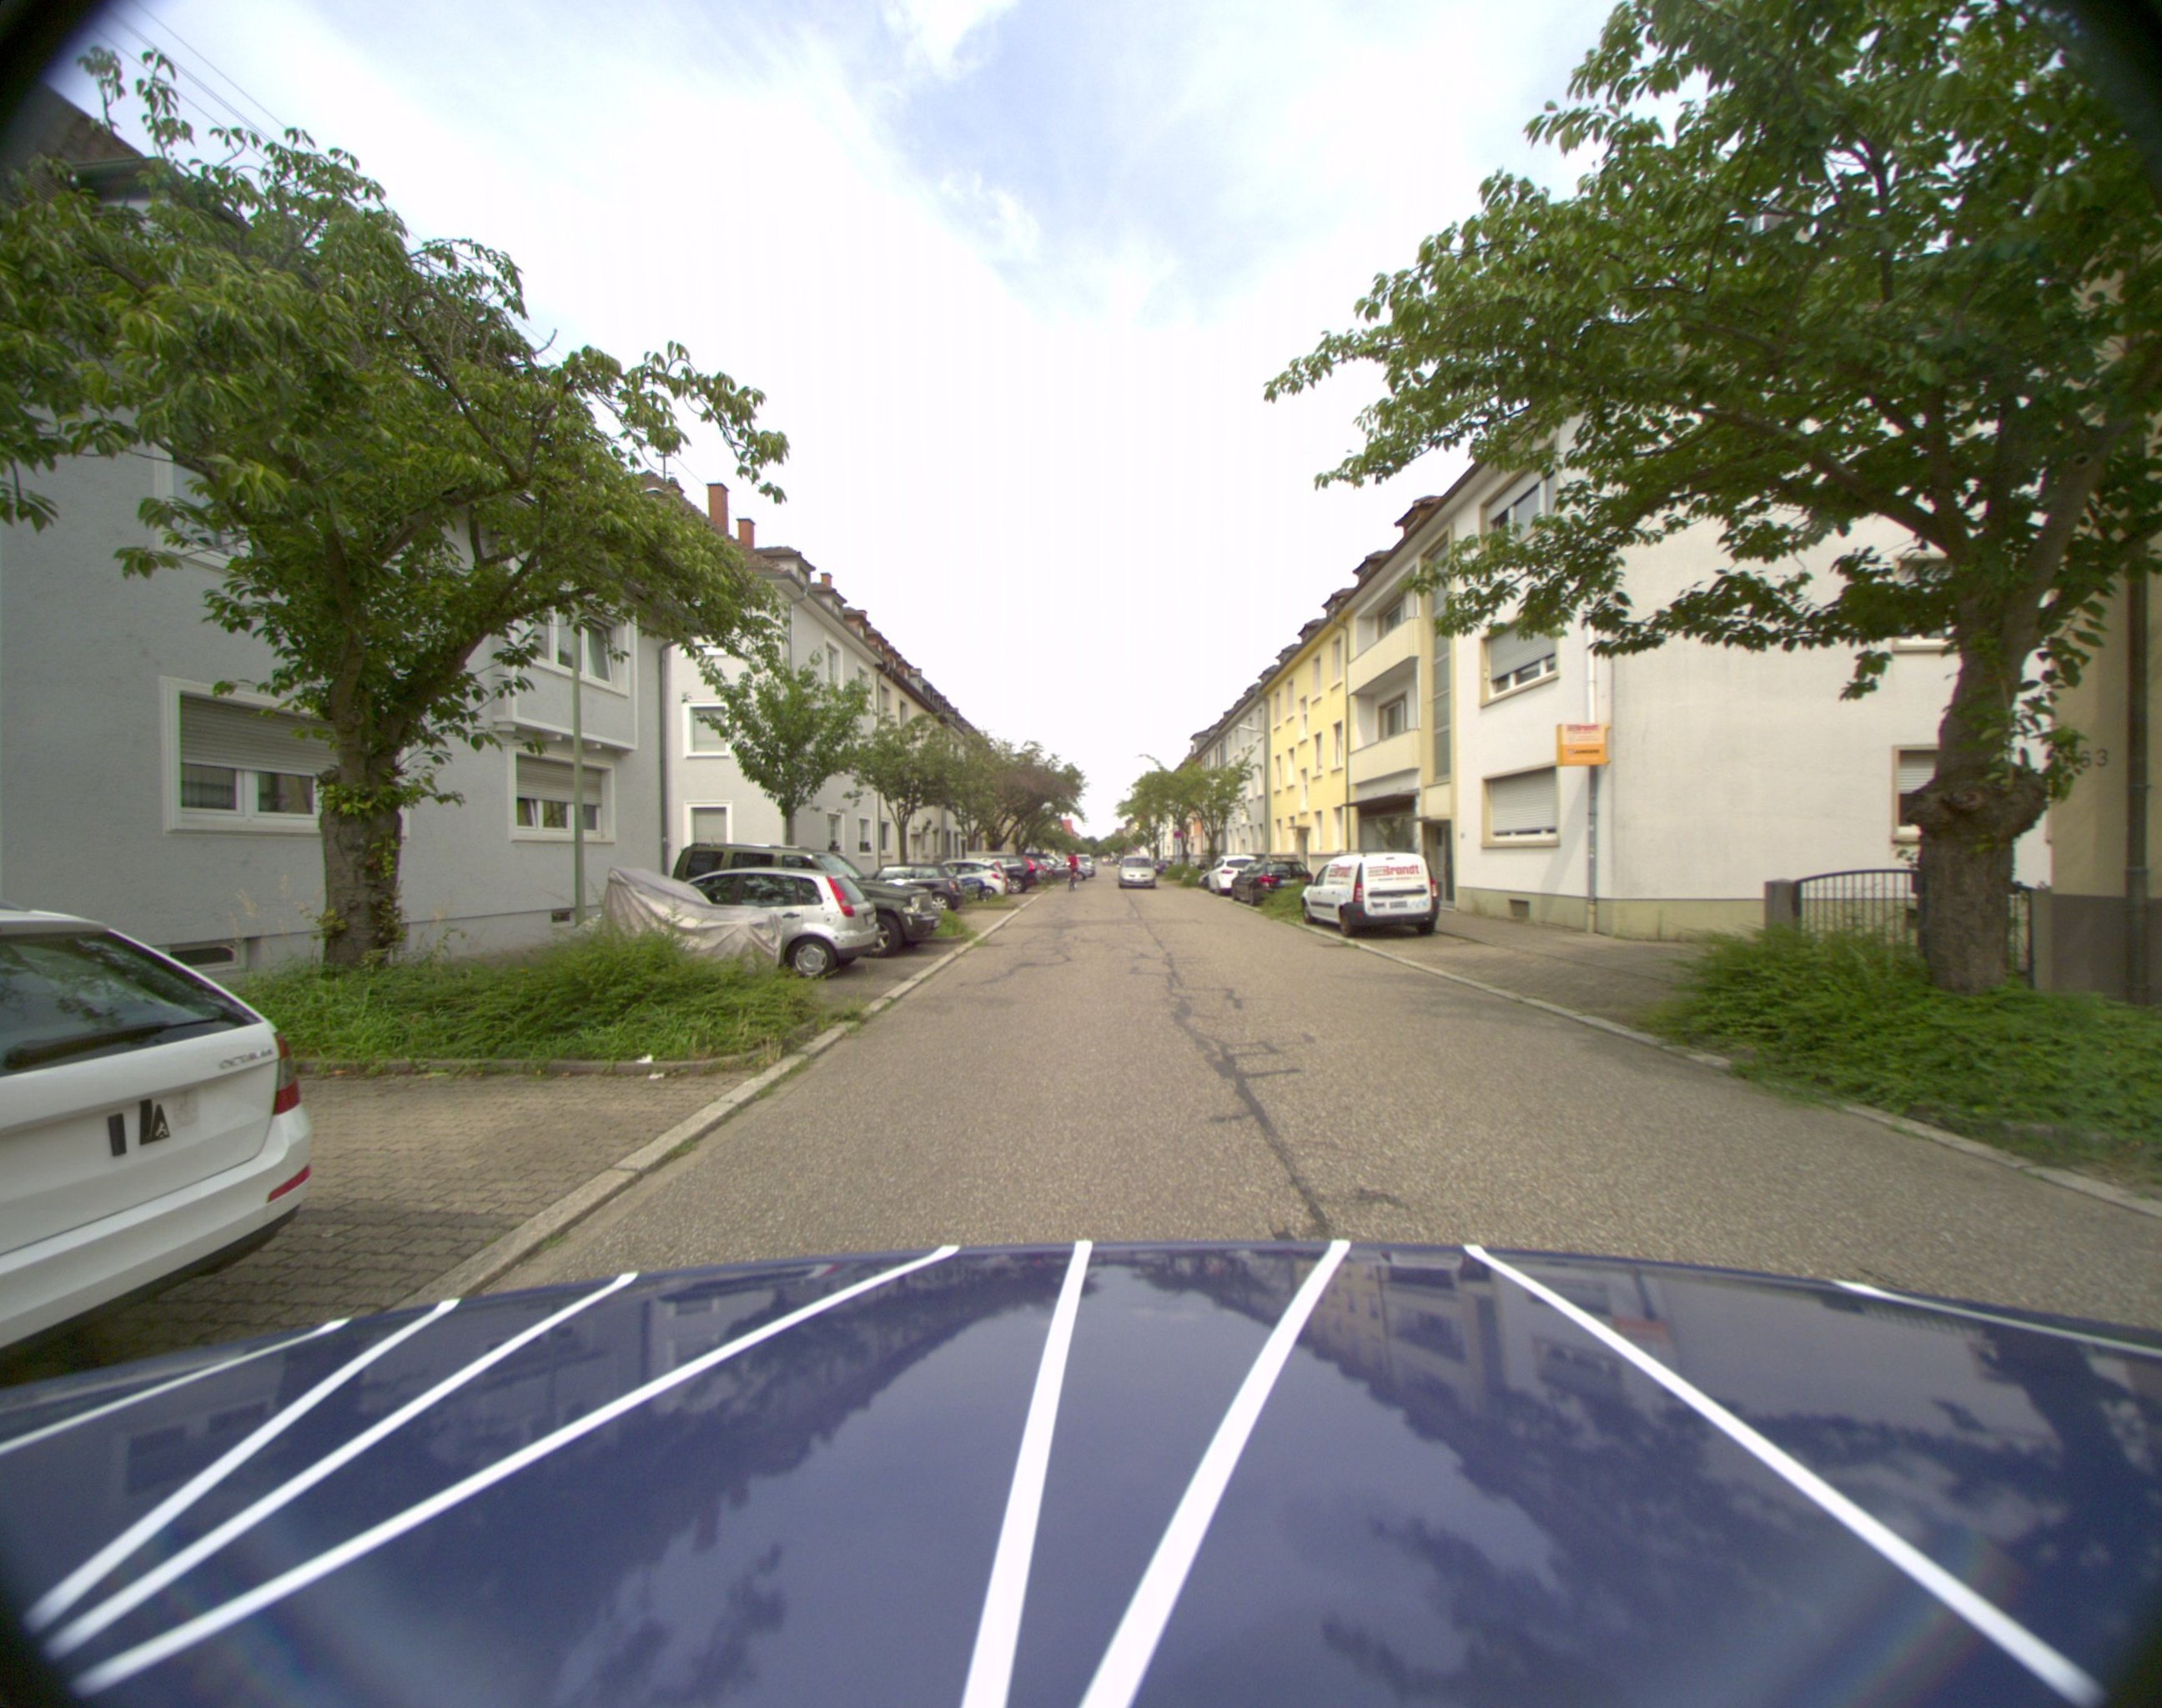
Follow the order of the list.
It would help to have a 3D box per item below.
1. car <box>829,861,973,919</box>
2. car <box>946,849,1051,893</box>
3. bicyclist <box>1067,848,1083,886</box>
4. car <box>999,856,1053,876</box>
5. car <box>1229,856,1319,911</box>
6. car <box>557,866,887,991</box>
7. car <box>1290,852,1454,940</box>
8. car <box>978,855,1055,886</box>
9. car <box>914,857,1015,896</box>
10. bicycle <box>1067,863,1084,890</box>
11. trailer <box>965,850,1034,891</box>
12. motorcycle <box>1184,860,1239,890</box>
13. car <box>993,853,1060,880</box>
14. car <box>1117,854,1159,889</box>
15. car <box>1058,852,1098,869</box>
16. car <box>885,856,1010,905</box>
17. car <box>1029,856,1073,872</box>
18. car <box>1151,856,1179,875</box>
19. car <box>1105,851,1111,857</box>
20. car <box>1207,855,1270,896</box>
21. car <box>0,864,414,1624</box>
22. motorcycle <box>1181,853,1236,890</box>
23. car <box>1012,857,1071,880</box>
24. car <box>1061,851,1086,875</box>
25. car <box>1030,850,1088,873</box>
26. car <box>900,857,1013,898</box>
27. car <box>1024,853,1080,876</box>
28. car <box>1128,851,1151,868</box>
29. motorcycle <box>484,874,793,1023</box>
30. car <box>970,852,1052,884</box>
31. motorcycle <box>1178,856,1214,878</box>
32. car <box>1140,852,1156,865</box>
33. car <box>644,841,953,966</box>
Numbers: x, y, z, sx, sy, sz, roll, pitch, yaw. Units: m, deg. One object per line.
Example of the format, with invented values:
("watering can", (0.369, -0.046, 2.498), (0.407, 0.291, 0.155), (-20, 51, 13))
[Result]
("car", (-4.939, 0.972, 21.214), (3.551, 1.444, 1.809), (1, 1, 1))
("car", (-3.561, 0.719, 33.308), (4.224, 1.725, 1.904), (2, 1, 4))
("bicyclist", (-0.263, 0.606, 35.811), (0.694, 1.760, 0.986), (-1, 1, 1))
("car", (-4.207, 0.910, 58.386), (3.997, 1.411, 1.638), (1, -1, 1))
("car", (6.033, 0.869, 24.356), (1.795, 1.483, 4.812), (-1, 1, 2))
("car", (-4.694, 0.959, 10.376), (3.635, 1.446, 1.772), (1, 1, -2))
("car", (6.035, 0.781, 16.378), (1.923, 1.572, 4.382), (2, 0, 2))
("car", (-3.645, 0.921, 43.666), (4.225, 1.588, 1.903), (1, 1, -1))
("car", (-4.693, 0.894, 31.079), (3.756, 1.433, 1.865), (2, 1, 2))
("bicycle", (-0.249, 1.044, 35.918), (0.693, 1.220, 1.937), (-1, 0, 1))
("trailer", (-3.804, 0.764, 35.850), (2.967, 1.821, 1.401), (2, 1, 5))
("motorcycle", (6.209, 0.984, 36.267), (2.450, 1.303, 0.645), (2, 1, 27))
("car", (-3.628, 0.829, 51.151), (4.224, 1.668, 1.904), (2, 1, 4))
("car", (2.788, 0.802, 37.816), (1.788, 1.595, 4.836), (0, 0, 1))
("car", (-0.333, 0.814, 93.705), (4.750, 1.899, 1.850), (2, 1, 1))
("car", (-4.527, 0.879, 26.159), (3.997, 1.521, 1.768), (1, 1, -1))
("car", (-3.104, 1.027, 79.516), (4.558, 1.501, 1.850), (1, 1, -1))
("car", (7.206, 0.933, 65.221), (1.841, 1.475, 4.120), (-3, 0, 0))
("car", (8.981, 0.039, 251.401), (1.757, 2.098, 3.621), (2, 0, 2))
("car", (6.324, 0.813, 30.905), (1.761, 1.547, 4.256), (0, 0, 1))
("car", (-4.723, 0.847, 1.837), (4.625, 1.654, 1.893), (2, 1, 2))
("motorcycle", (5.862, 0.788, 35.040), (0.941, 1.666, 2.467), (0, 0, -42))
("car", (-2.726, 1.029, 53.381), (3.997, 1.446, 1.766), (1, 1, 1))
("car", (-0.640, 0.762, 64.837), (1.999, 1.903, 4.703), (-2, 0, 0))
("car", (-2.034, 0.684, 70.148), (5.243, 2.011, 2.073), (1, 1, -3))
("car", (-4.673, 0.871, 28.982), (3.997, 1.402, 1.768), (1, 1, -1))
("car", (-2.082, 0.758, 55.825), (3.997, 1.527, 1.638), (1, 1, 1))
("car", (5.524, 0.498, 71.987), (1.841, 1.475, 4.093), (-2, 0, 0))
("motorcycle", (-4.674, 0.967, 8.228), (2.708, 1.455, 1.031), (0, 1, -2))
("car", (-3.757, 0.762, 41.270), (4.226, 1.588, 1.903), (1, 1, -1))
("motorcycle", (6.441, 0.722, 42.547), (1.914, 1.185, 0.595), (1, 1, -25))
("car", (8.606, 0.558, 97.425), (1.697, 1.573, 4.249), (-1, 0, 0))
("car", (-4.651, 0.770, 12.894), (4.535, 1.847, 1.793), (2, 1, 4))
